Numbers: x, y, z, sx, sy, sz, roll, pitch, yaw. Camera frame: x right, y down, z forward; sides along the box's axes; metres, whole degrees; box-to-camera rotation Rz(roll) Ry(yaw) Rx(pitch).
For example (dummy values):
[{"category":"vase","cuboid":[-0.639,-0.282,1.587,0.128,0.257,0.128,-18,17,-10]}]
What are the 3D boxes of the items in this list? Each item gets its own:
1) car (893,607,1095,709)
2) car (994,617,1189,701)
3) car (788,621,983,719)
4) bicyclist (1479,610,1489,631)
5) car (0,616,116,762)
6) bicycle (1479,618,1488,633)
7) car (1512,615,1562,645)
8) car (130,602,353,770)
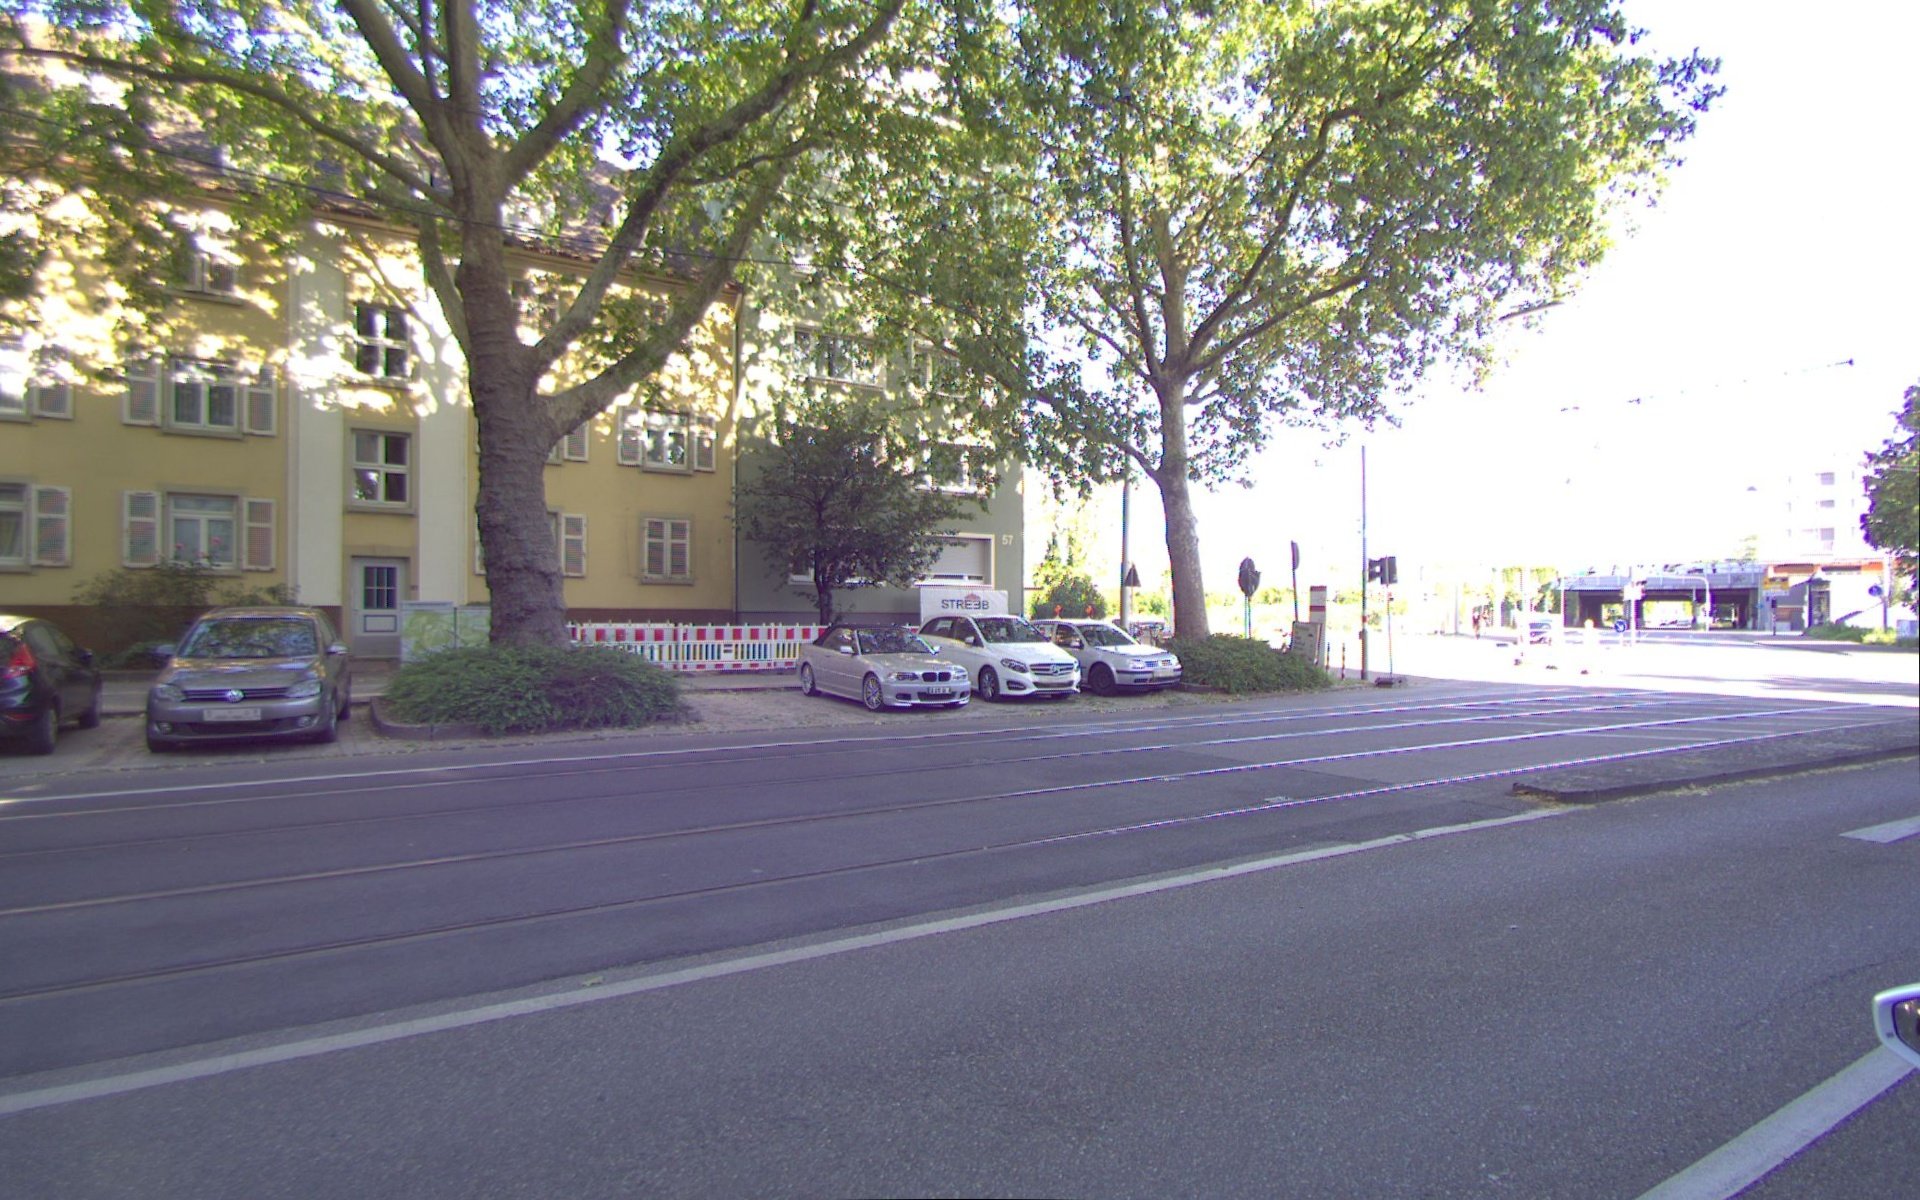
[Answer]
[{"category":"car","cuboid":[0.511,1.022,19.631,1.777,1.640,4.587,1,1,-30]},{"category":"car","cuboid":[2.592,1.134,20.973,1.656,1.448,4.490,1,0,-30]},{"category":"car","cuboid":[-1.442,1.124,17.590,1.708,1.386,4.220,1,0,-31]},{"category":"bicyclist","cuboid":[38.789,1.500,74.354,0.625,1.584,0.832,0,-1,28]},{"category":"car","cuboid":[-11.116,0.925,11.467,1.723,1.448,3.545,1,-1,-31]},{"category":"bicycle","cuboid":[38.726,1.867,74.338,0.572,1.075,2.039,0,-1,28]},{"category":"car","cuboid":[32.775,1.687,57.044,1.803,1.539,3.876,2,0,40]},{"category":"car","cuboid":[-8.757,0.900,12.592,1.793,1.627,4.169,1,1,-29]}]
